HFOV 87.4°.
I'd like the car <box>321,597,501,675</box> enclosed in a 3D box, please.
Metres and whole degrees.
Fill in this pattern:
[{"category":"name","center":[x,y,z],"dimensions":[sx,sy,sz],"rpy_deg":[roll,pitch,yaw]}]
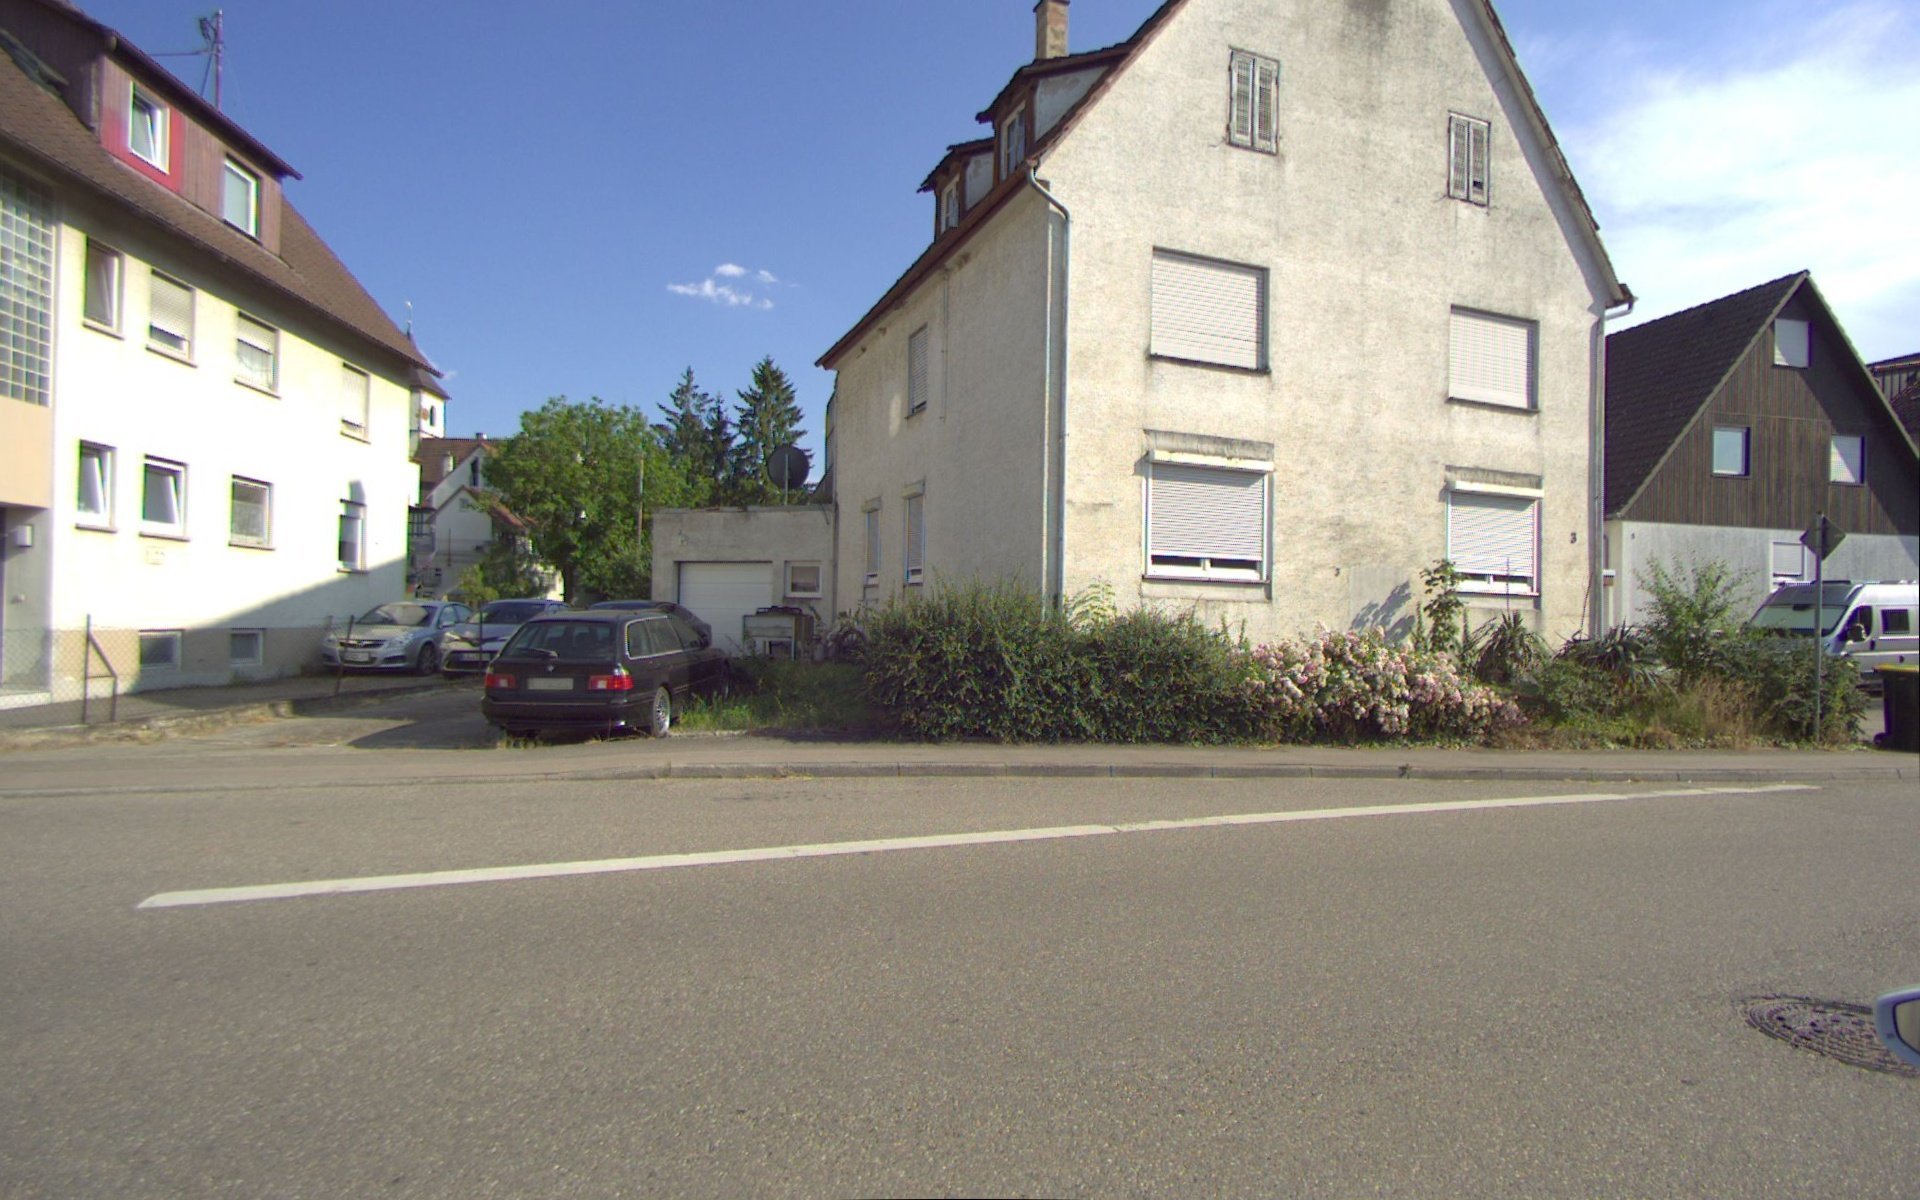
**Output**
[{"category":"car","center":[-10.977,0.658,20.408],"dimensions":[1.519,1.405,3.999],"rpy_deg":[1,0,-1]}]

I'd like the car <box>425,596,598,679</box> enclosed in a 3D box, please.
[{"category":"car","center":[-8.637,0.663,19.733],"dimensions":[1.653,1.432,3.999],"rpy_deg":[1,0,-1]}]

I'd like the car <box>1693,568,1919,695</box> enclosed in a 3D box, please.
[{"category":"car","center":[19.843,0.721,22.818],"dimensions":[6.000,2.630,2.156],"rpy_deg":[1,0,-20]}]

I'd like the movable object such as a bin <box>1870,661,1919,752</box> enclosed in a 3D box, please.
[{"category":"movable object such as a bin","center":[12.347,1.371,13.021],"dimensions":[0.568,1.116,0.609],"rpy_deg":[2,0,-23]}]

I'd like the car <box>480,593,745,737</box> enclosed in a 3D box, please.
[{"category":"car","center":[-4.017,0.721,12.365],"dimensions":[1.620,1.452,4.002],"rpy_deg":[1,-1,4]}]
